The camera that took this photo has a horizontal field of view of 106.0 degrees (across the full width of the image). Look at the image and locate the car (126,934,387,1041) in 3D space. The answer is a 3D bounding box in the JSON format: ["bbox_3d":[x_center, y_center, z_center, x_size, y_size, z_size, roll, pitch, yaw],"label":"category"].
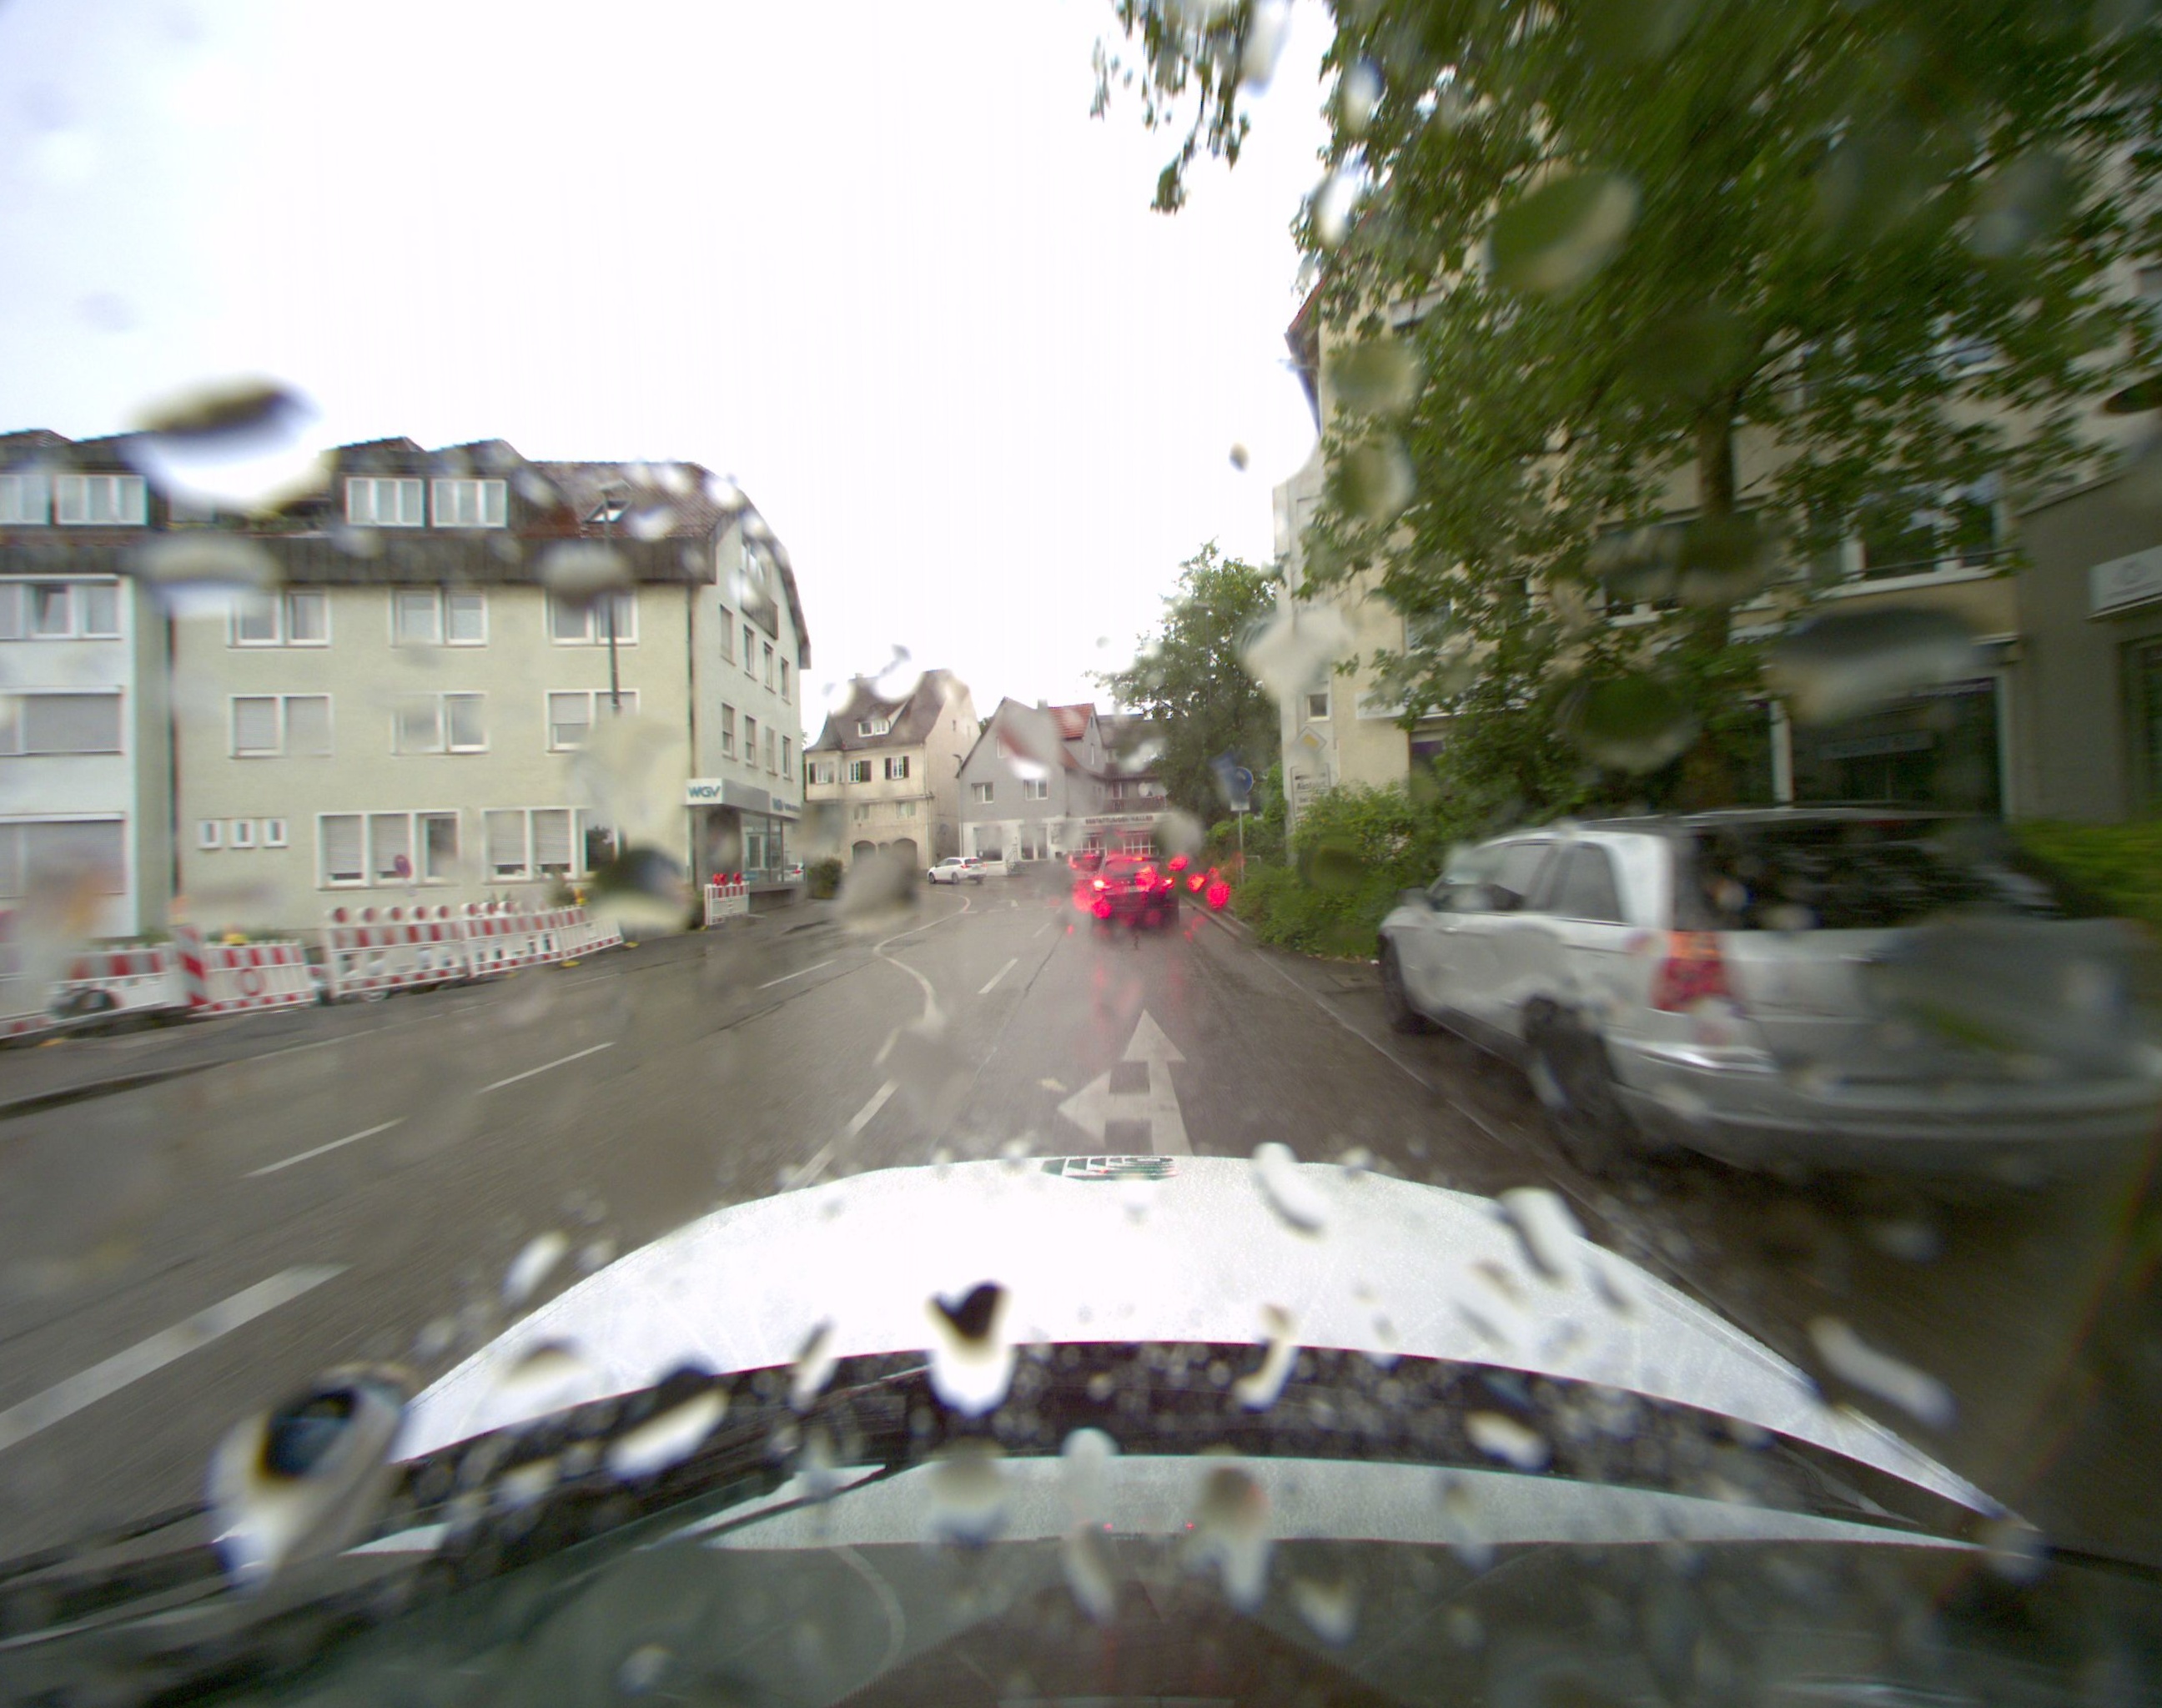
[{"bbox_3d":[-16.762,2.690,16.701,3.441,1.311,1.497,-9,2,-5],"label":"car"}]

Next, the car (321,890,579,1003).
[{"bbox_3d":[-12.321,1.761,16.126,3.497,1.390,1.647,-10,2,-7],"label":"car"}]

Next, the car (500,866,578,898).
[{"bbox_3d":[-30.547,1.542,46.001,1.697,1.576,3.546,-2,0,8],"label":"car"}]

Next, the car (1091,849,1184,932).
[{"bbox_3d":[1.106,0.687,17.689,1.726,1.450,4.242,-2,1,1],"label":"car"}]

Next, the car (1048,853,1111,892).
[{"bbox_3d":[-0.139,0.764,35.894,1.791,1.517,4.222,-3,1,-13],"label":"car"}]

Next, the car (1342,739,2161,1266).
[{"bbox_3d":[3.290,0.513,5.215,1.922,1.780,4.739,-3,0,4],"label":"car"}]

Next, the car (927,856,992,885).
[{"bbox_3d":[-6.986,0.913,46.525,1.800,1.465,4.116,-3,2,-39],"label":"car"}]
